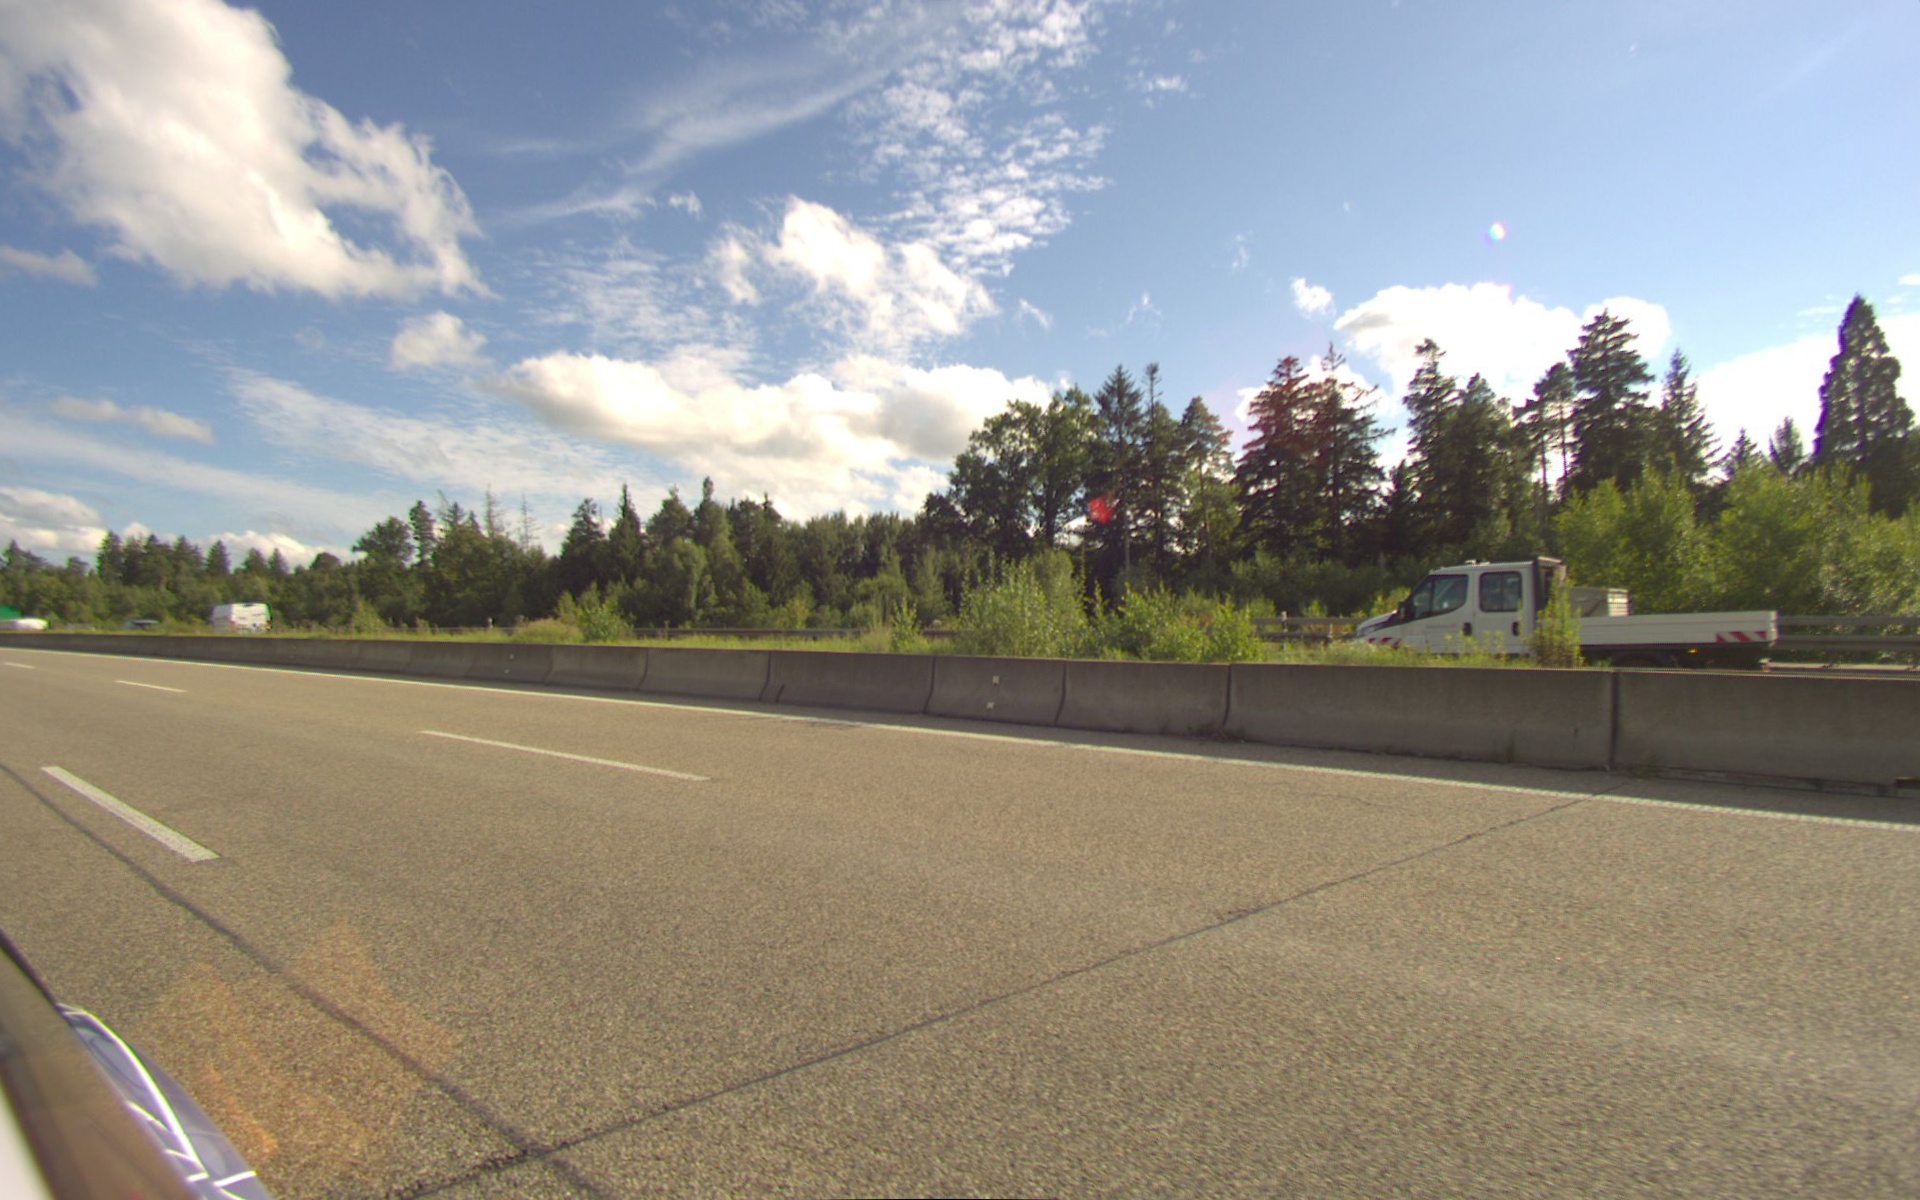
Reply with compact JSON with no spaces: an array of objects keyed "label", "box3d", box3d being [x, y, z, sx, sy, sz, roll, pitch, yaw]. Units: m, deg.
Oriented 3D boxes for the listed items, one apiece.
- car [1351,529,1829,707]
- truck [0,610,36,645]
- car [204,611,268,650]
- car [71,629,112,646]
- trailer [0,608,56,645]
[{"label":"car","box3d":[9.858,0.238,16.272,6.189,2.335,2.286,-2,2,41]},{"label":"truck","box3d":[-115.400,3.339,123.311,5.857,4.039,3.342,-2,-1,39]},{"label":"car","box3d":[-44.826,1.886,62.642,5.200,2.261,2.044,-2,-1,40]},{"label":"car","box3d":[-74.513,3.207,86.816,4.460,1.413,1.974,-2,-1,40]},{"label":"trailer","box3d":[-109.668,3.159,118.642,13.624,4.039,3.342,-2,-1,39]}]
